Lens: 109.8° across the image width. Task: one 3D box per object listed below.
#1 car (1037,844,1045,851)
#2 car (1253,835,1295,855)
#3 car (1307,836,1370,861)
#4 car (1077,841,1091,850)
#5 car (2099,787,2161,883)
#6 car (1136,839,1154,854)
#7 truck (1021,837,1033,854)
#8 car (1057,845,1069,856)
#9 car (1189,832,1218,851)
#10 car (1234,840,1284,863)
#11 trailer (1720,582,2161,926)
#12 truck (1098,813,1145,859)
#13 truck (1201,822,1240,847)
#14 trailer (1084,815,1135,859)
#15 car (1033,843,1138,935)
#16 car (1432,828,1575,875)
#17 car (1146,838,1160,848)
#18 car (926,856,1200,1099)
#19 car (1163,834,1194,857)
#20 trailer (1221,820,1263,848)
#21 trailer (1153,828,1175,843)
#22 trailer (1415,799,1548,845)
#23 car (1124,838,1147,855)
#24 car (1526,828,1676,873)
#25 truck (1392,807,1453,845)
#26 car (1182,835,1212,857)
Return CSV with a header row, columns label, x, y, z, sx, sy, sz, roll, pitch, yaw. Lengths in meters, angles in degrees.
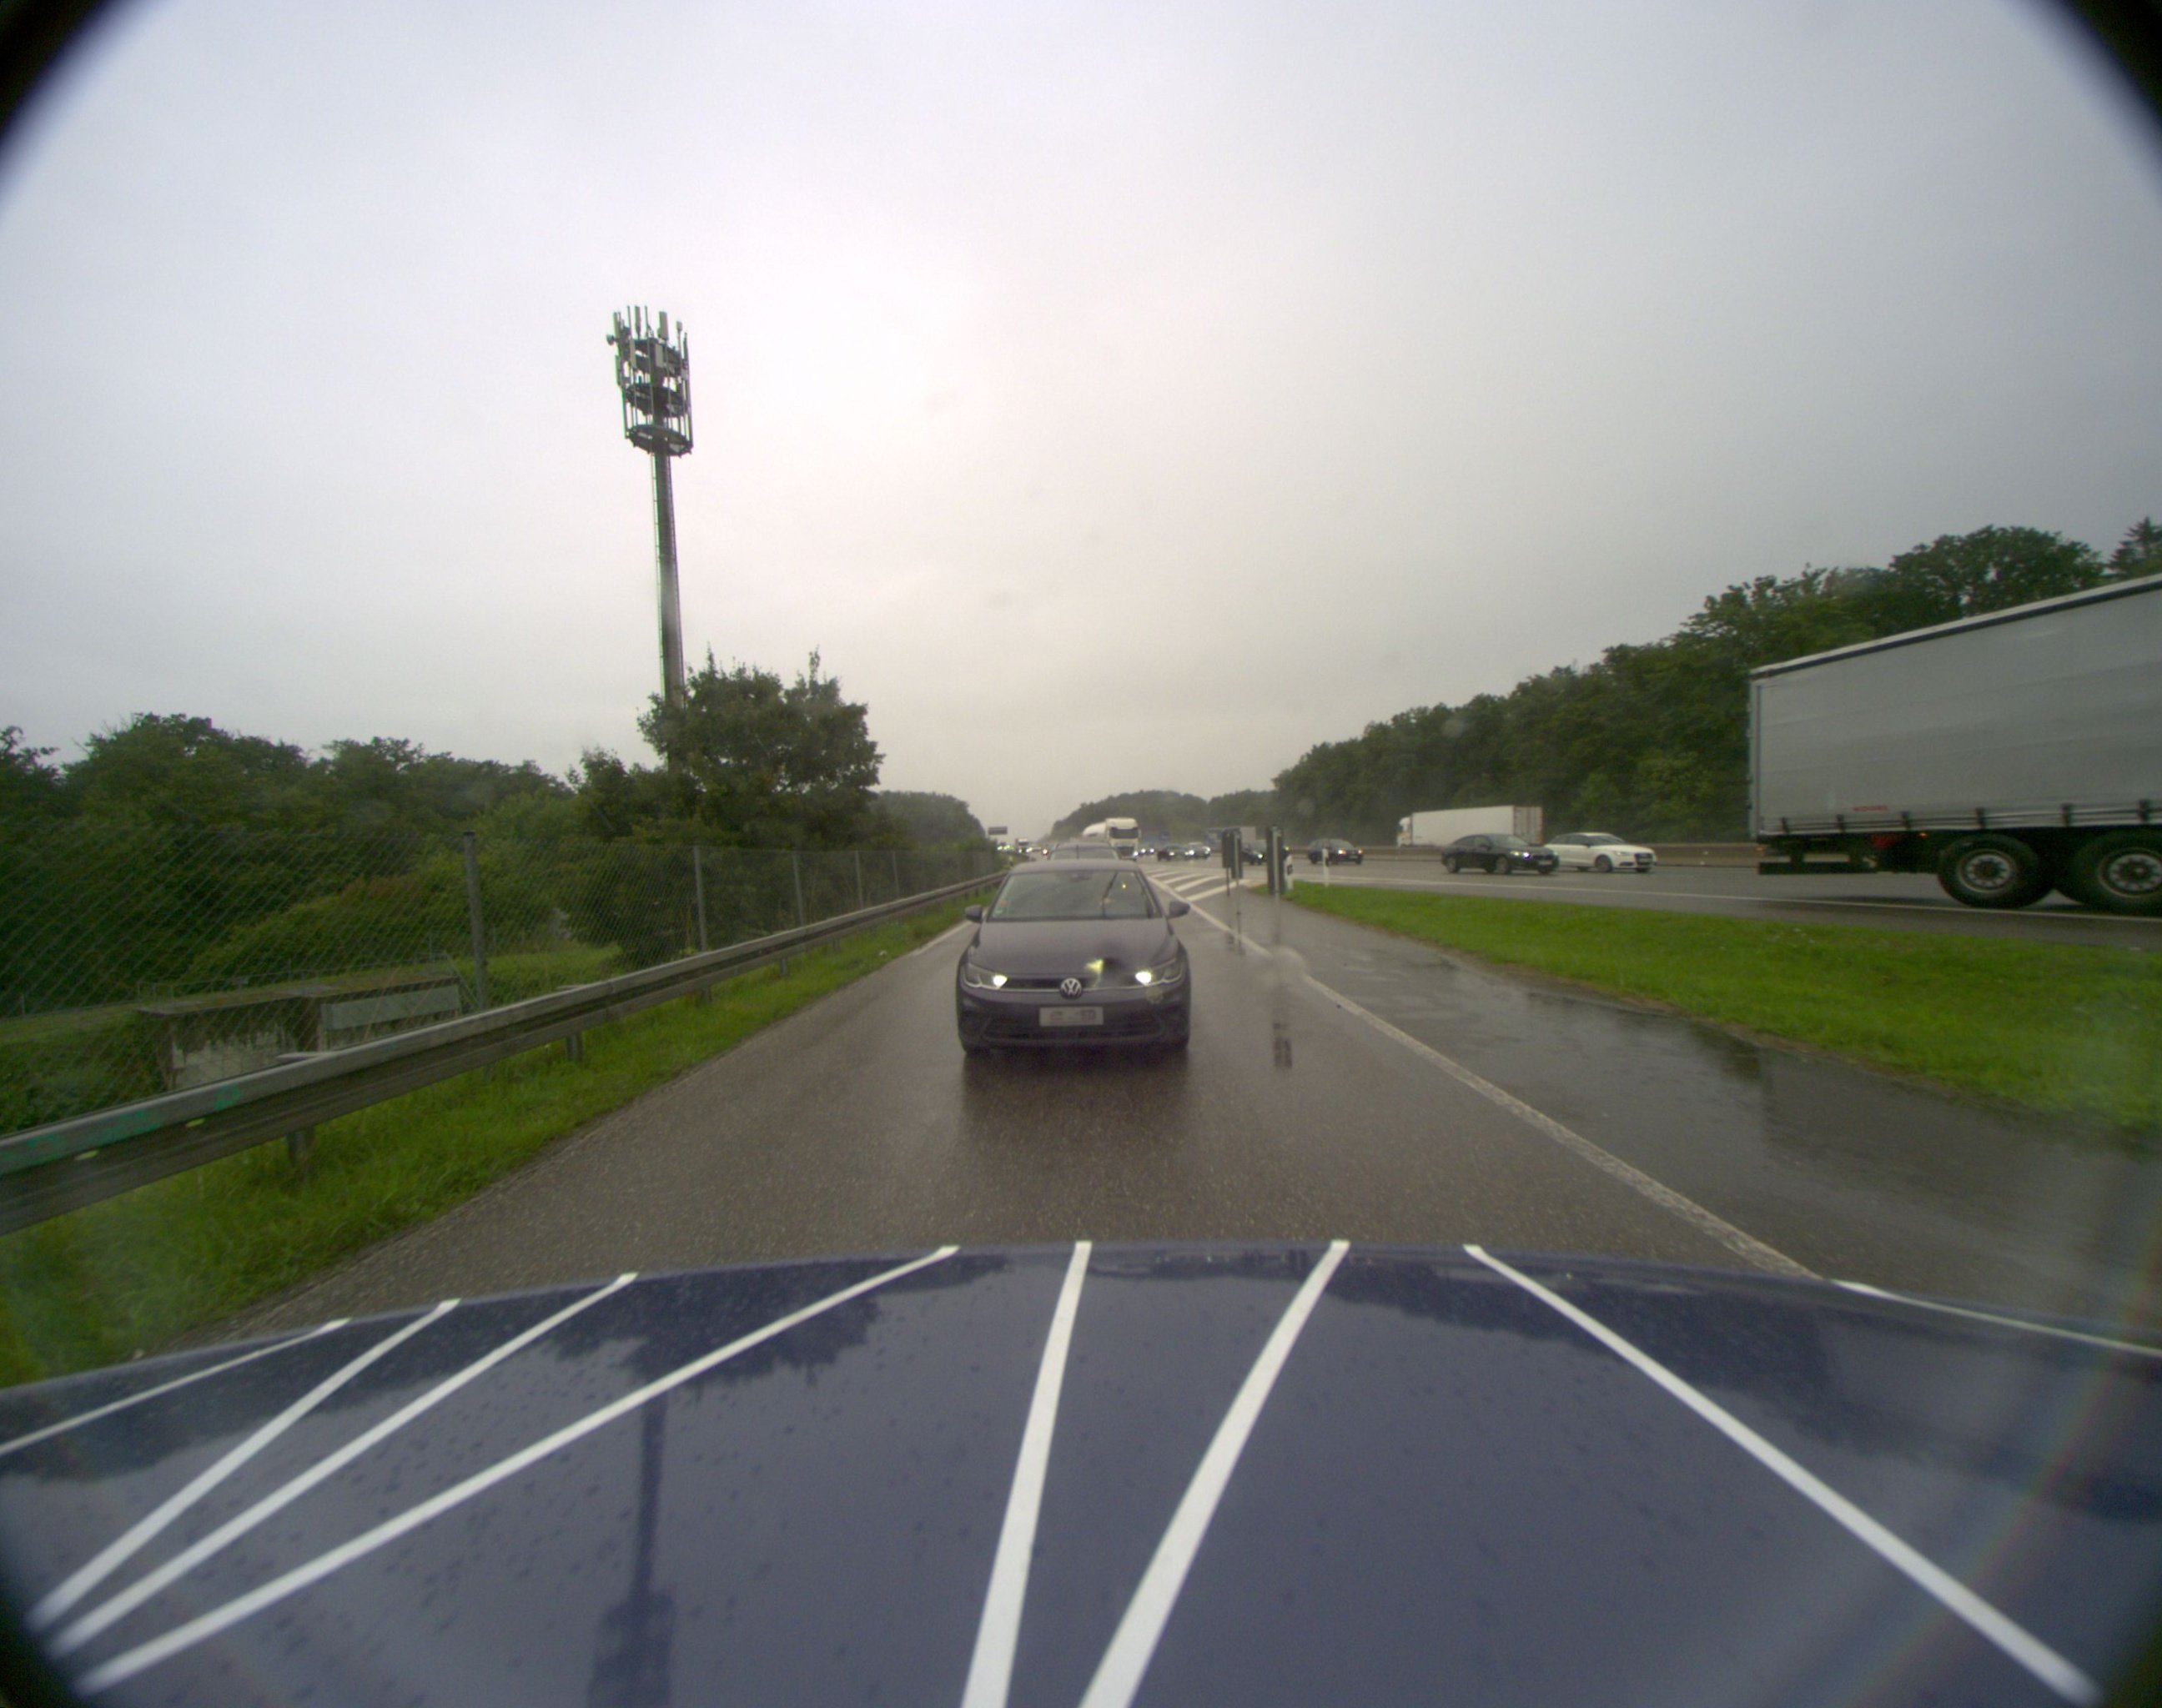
label,x,y,z,sx,sy,sz,roll,pitch,yaw
car,-11.214,-1.770,211.446,1.775,1.668,3.996,-4,2,-7
car,16.347,-0.773,64.446,1.824,1.659,4.400,0,1,-10
car,15.332,-0.285,45.457,1.824,1.406,4.120,-1,0,-10
car,0.508,-1.656,145.518,1.789,1.550,4.095,-2,-1,-12
car,24.231,-0.453,15.293,1.942,2.002,3.996,-4,1,-11
car,9.281,-1.066,110.285,1.999,2.002,3.998,-2,1,-3
truck,-14.103,-2.226,197.513,2.597,4.121,5.229,-5,1,-3
car,-3.416,-0.708,144.340,1.927,1.852,3.996,-7,3,-5
car,13.572,-1.342,84.494,2.000,2.002,3.996,-2,0,-9
car,11.030,-0.154,47.326,1.823,1.364,3.997,-1,1,-6
trailer,14.228,-1.140,7.049,2.905,3.959,14.103,0,1,-10
truck,3.630,-1.586,69.848,2.759,3.985,6.502,-2,1,-10
truck,24.534,-3.402,134.218,3.071,3.958,10.546,-6,2,-10
trailer,2.675,-1.594,75.434,2.771,4.003,11.031,-1,0,-10
car,0.116,0.617,16.069,1.810,1.532,3.999,-6,1,1
car,14.755,-0.094,26.854,1.886,1.472,4.497,-2,1,-12
car,14.023,-2.169,147.608,1.745,1.726,3.846,-3,1,-9
car,-0.131,0.798,6.994,1.670,1.394,4.261,-4,1,-1
car,8.489,-0.724,66.590,1.766,1.893,3.998,-3,1,-6
trailer,26.276,-3.252,124.519,3.101,4.025,9.155,-6,2,-10
trailer,19.539,-4.358,179.818,2.740,3.398,11.392,-3,1,-5
trailer,34.336,-2.565,66.142,2.657,3.477,13.473,-2,1,-9
car,6.987,-0.982,97.846,2.000,2.002,4.108,-2,1,-9
car,18.552,-0.152,27.396,1.886,1.472,4.498,-1,1,-9
truck,33.102,-2.635,73.840,2.655,3.432,5.596,-2,1,-9
car,11.175,-0.812,73.414,1.862,2.002,3.997,-2,1,-6
